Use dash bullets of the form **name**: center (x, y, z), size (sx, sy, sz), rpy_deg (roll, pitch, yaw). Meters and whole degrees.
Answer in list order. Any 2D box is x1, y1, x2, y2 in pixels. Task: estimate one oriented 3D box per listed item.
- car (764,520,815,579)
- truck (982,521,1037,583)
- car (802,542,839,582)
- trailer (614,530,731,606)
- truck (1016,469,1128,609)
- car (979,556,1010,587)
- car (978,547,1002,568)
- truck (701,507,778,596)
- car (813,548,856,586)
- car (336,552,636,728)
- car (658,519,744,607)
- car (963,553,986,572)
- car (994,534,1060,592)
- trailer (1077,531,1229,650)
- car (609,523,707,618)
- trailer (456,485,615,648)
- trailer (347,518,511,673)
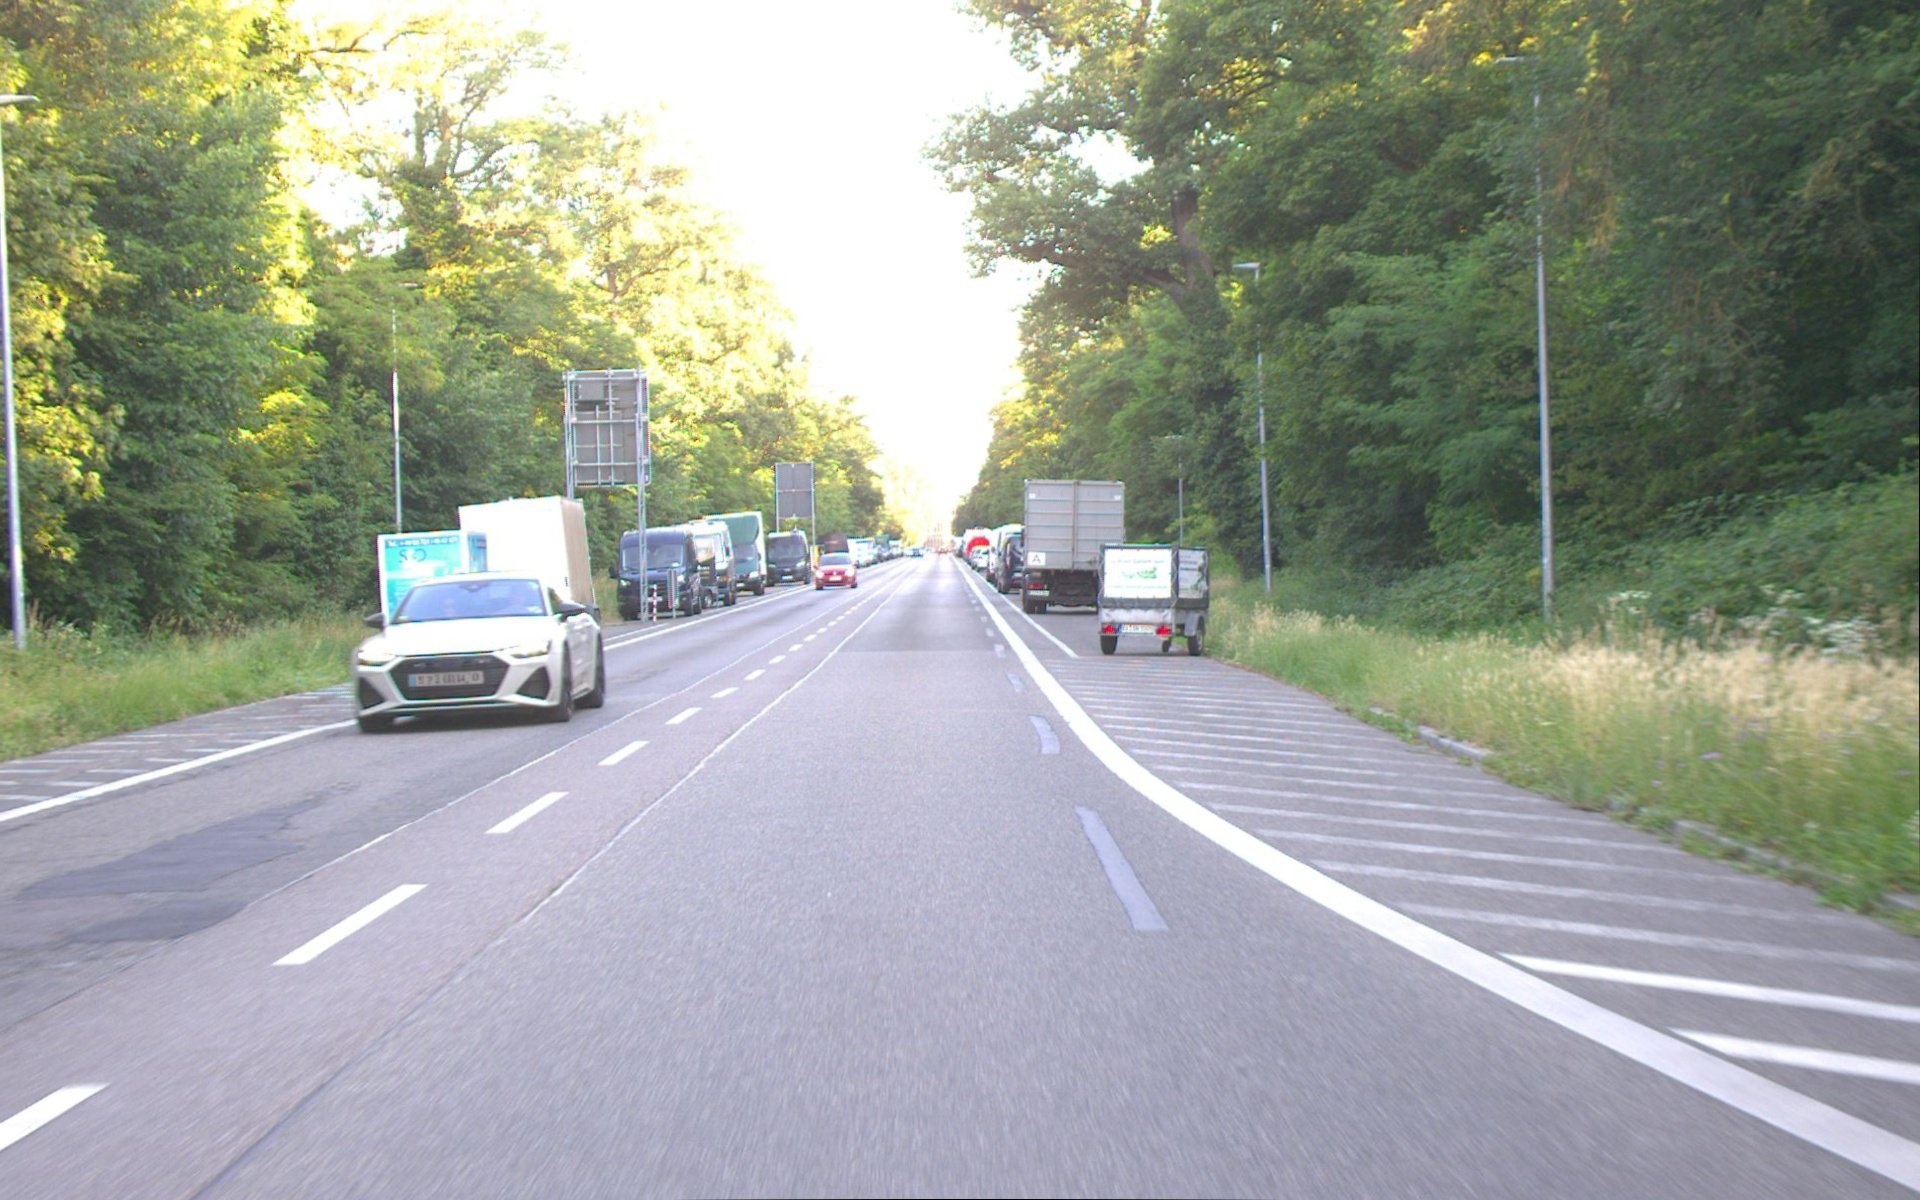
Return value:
- **car**: center (-8.446, -2.516, 170.355), size (2.186, 2.779, 5.334), rpy_deg (-2, 1, 0)
- **truck**: center (2.132, -2.097, 150.093), size (2.141, 2.650, 4.300), rpy_deg (0, 1, -2)
- **car**: center (-7.673, -2.104, 188.912), size (1.700, 2.006, 4.000), rpy_deg (-6, 1, 0)
- **trailer**: center (-8.715, -0.986, 104.616), size (1.965, 2.147, 3.926), rpy_deg (-2, 1, 21)
- **truck**: center (2.681, -1.461, 83.830), size (2.589, 3.244, 7.220), rpy_deg (0, 1, 1)
- **car**: center (1.575, -1.306, 156.426), size (1.147, 1.247, 2.754), rpy_deg (-5, 2, -2)
- **car**: center (1.862, -2.664, 215.316), size (1.427, 1.218, 3.412), rpy_deg (2, 1, 0)
- **truck**: center (-8.668, -1.943, 135.712), size (2.504, 3.317, 6.842), rpy_deg (-2, 1, 0)
- **car**: center (-5.229, -1.401, 143.195), size (1.682, 1.481, 4.038), rpy_deg (-2, 1, -1)
- **car**: center (-4.490, 0.331, 33.259), size (2.063, 1.430, 4.465), rpy_deg (-4, 1, 2)
- **car**: center (-8.268, -1.210, 110.141), size (2.249, 2.638, 5.721), rpy_deg (-2, 1, 0)
- **car**: center (0.980, -2.550, 232.627), size (1.427, 1.218, 3.412), rpy_deg (2, 1, 0)
- **car**: center (2.273, -1.277, 117.745), size (1.993, 1.948, 4.300), rpy_deg (0, 1, -2)
- **trailer**: center (2.925, -0.167, 51.479), size (1.457, 1.656, 3.774), rpy_deg (-2, 1, 15)
- **car**: center (-8.073, -0.818, 92.406), size (1.993, 2.356, 5.766), rpy_deg (-4, 1, 0)
- **trailer**: center (-8.248, -0.669, 67.281), size (2.326, 2.914, 5.627), rpy_deg (-4, 1, -1)
- **trailer**: center (-7.927, -0.099, 51.675), size (1.817, 2.160, 4.143), rpy_deg (-2, 1, -1)
